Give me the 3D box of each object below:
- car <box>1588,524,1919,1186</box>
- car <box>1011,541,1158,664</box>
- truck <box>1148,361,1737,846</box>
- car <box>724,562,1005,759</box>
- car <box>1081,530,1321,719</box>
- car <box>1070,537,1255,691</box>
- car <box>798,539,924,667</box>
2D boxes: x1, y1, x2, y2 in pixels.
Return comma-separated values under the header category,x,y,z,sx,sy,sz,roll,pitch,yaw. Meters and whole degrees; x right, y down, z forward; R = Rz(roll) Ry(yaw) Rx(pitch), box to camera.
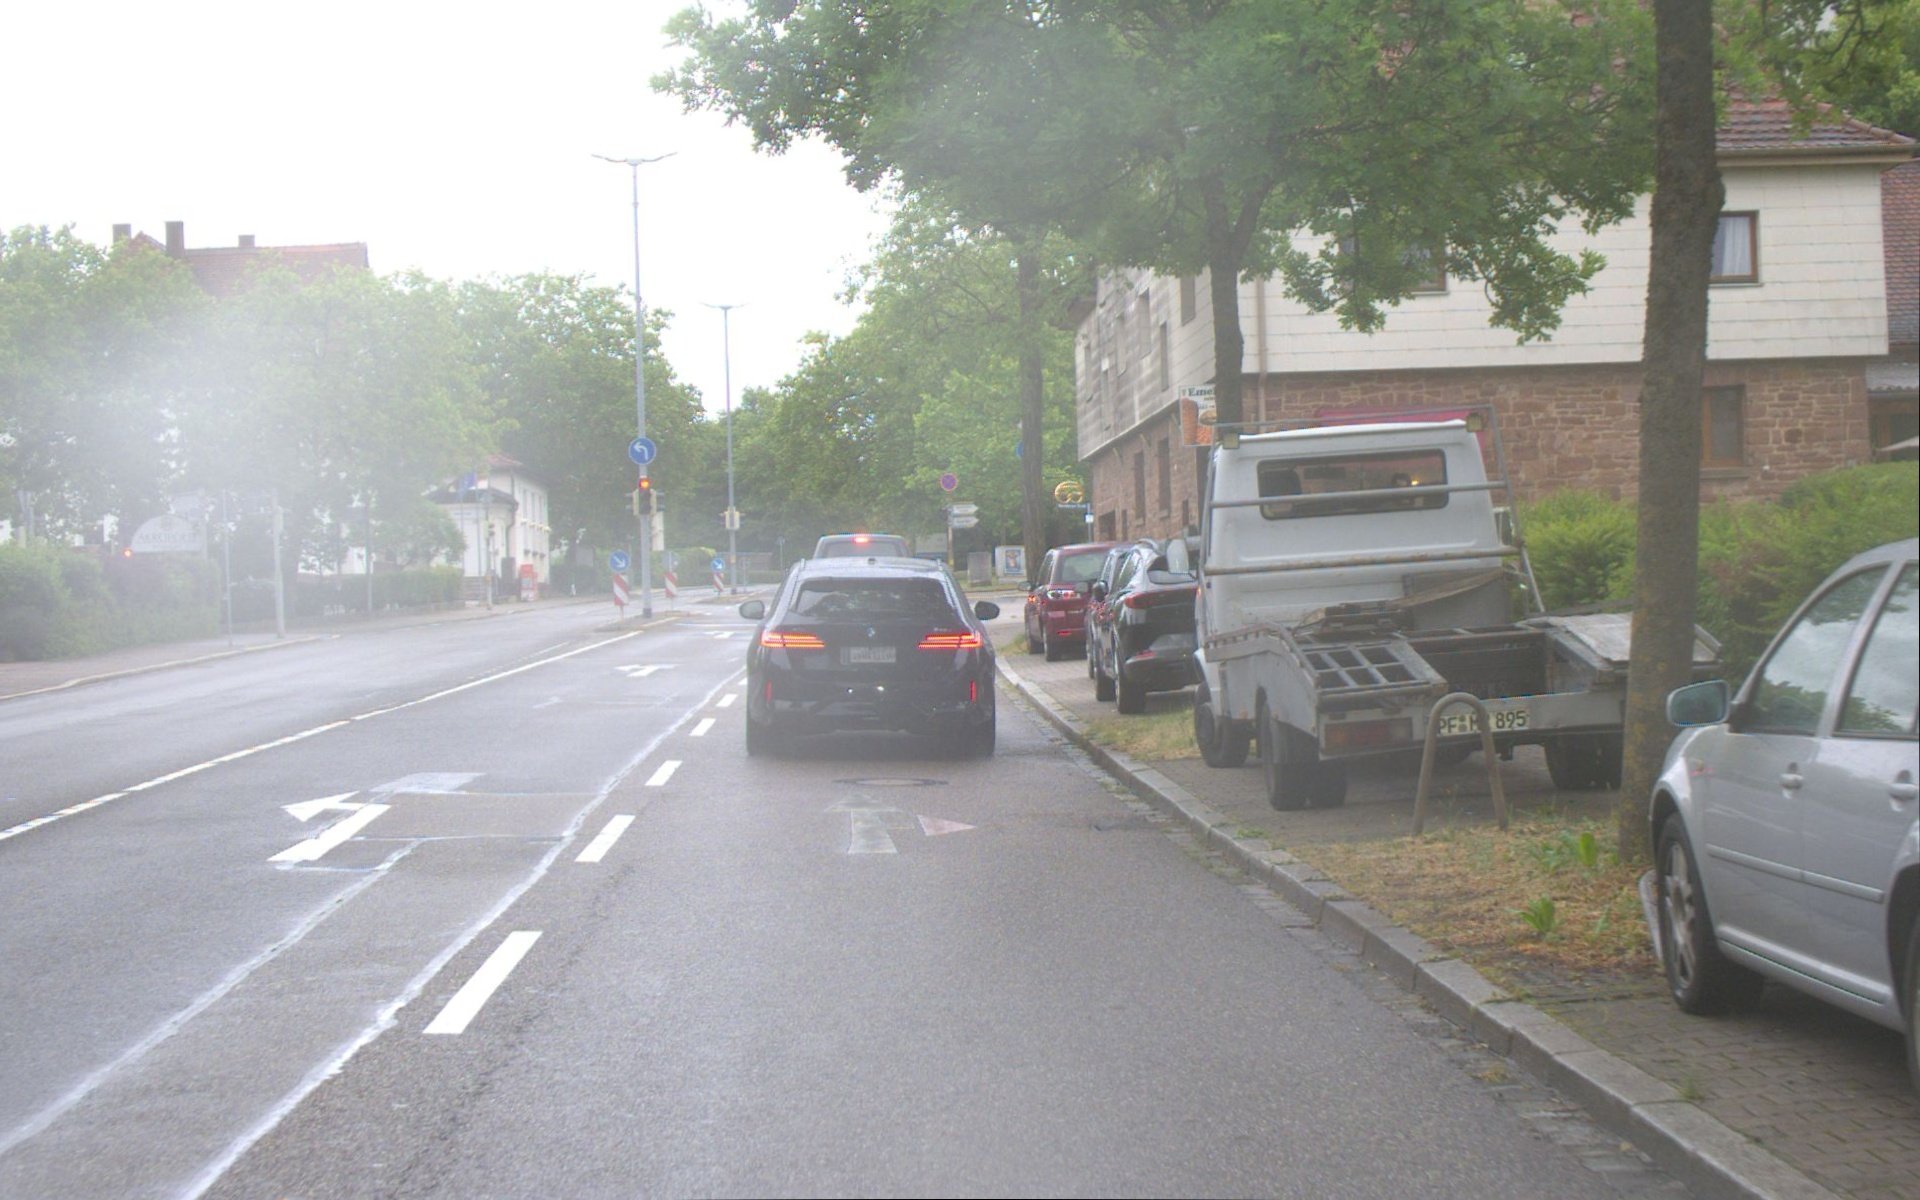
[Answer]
category,x,y,z,sx,sy,sz,roll,pitch,yaw
car,2.897,0.530,8.988,1.601,1.431,4.022,-4,1,-1
car,1.662,0.003,46.962,1.583,1.485,3.628,-4,1,-3
truck,2.531,-0.027,19.982,2.080,2.214,6.502,-4,1,-3
car,-0.816,0.420,27.449,2.064,1.441,4.483,0,0,-3
car,2.127,0.179,31.365,1.714,1.493,4.184,-4,1,-1
car,2.148,0.115,37.341,1.604,1.467,3.856,-4,1,-1
car,-1.506,0.010,51.144,1.783,1.811,4.001,-1,1,-3
